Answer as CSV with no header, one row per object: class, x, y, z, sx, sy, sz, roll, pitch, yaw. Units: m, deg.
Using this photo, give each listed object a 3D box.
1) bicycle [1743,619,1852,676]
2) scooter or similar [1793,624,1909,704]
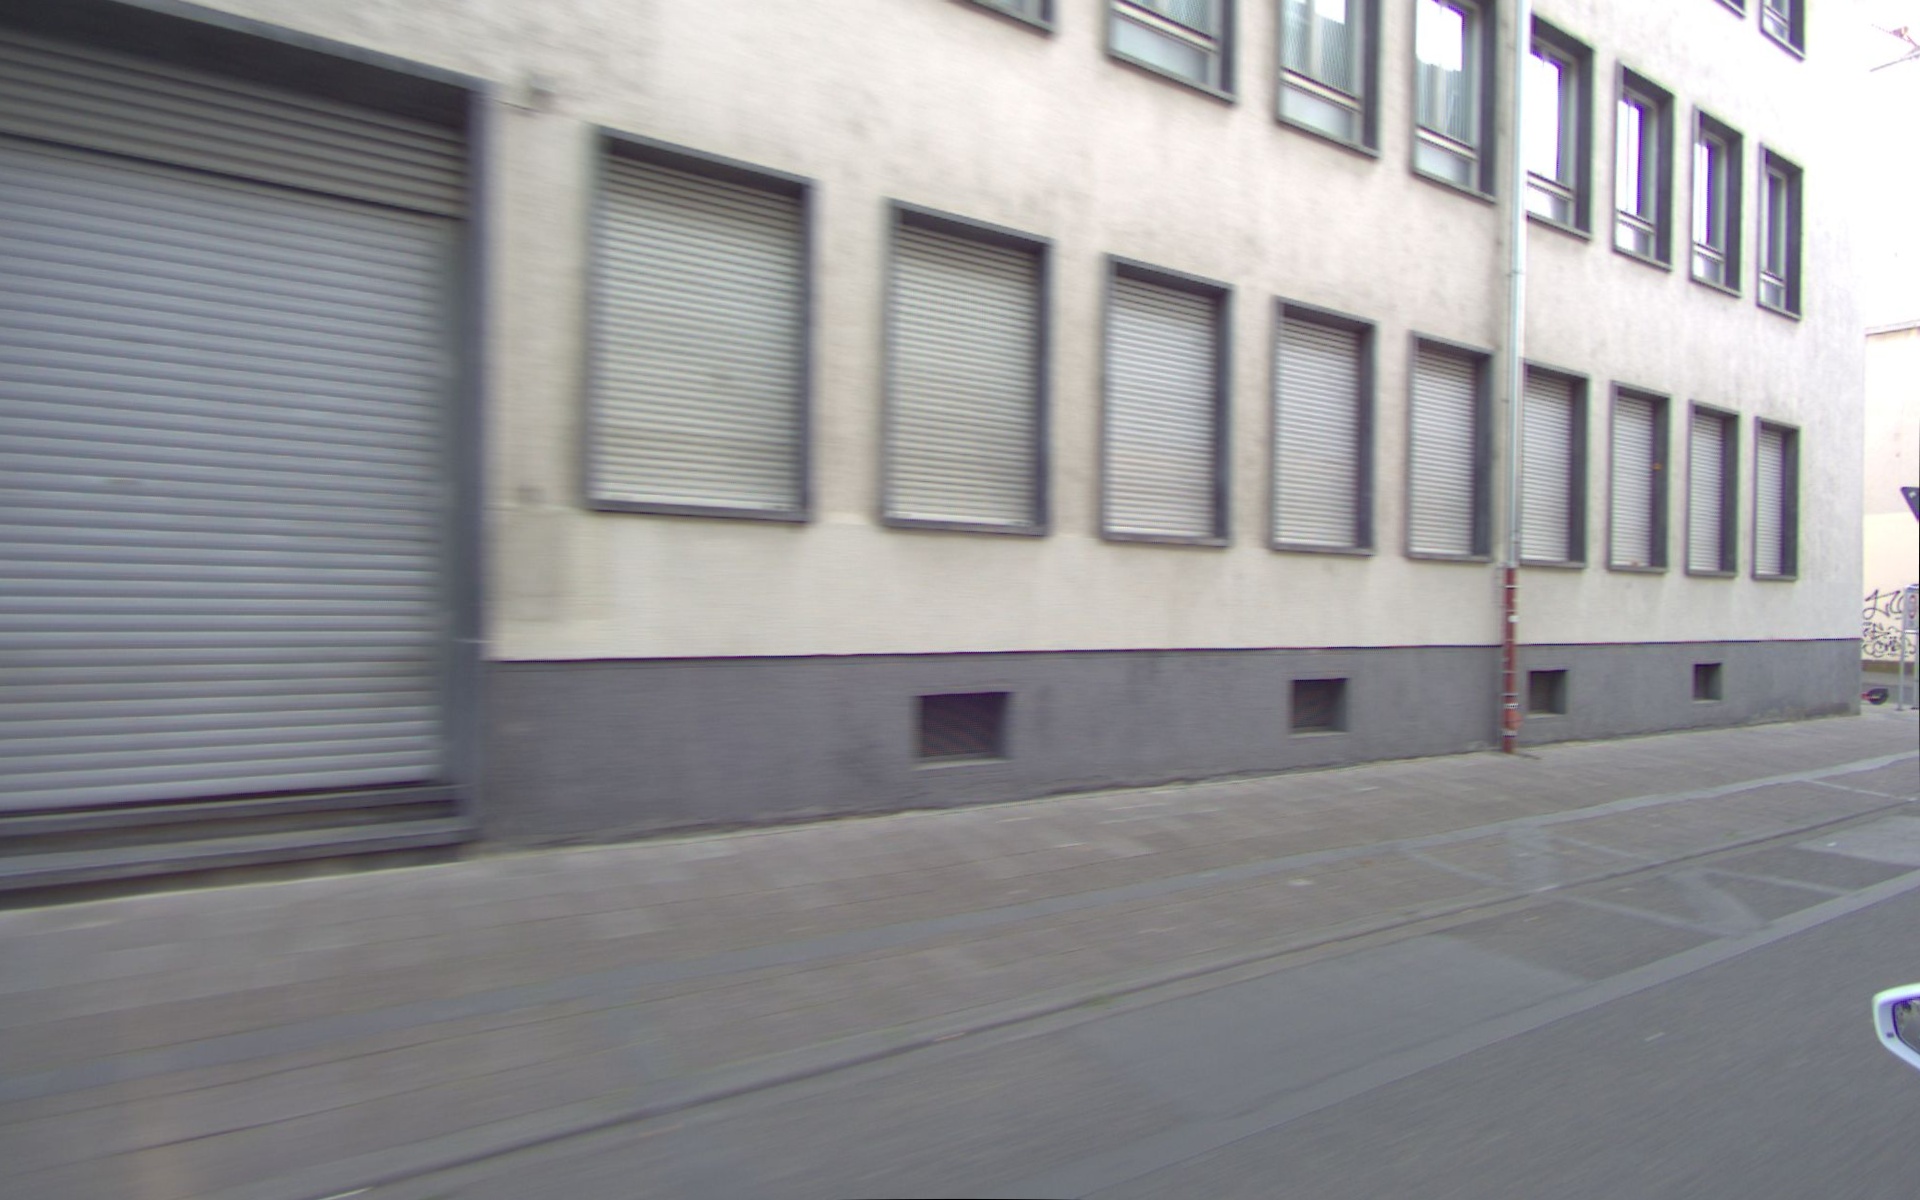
bicycle,19.610,1.091,23.576,0.617,1.233,1.926,1,0,-16
scooter or similar,15.148,1.068,17.116,1.343,1.217,0.531,4,2,36
